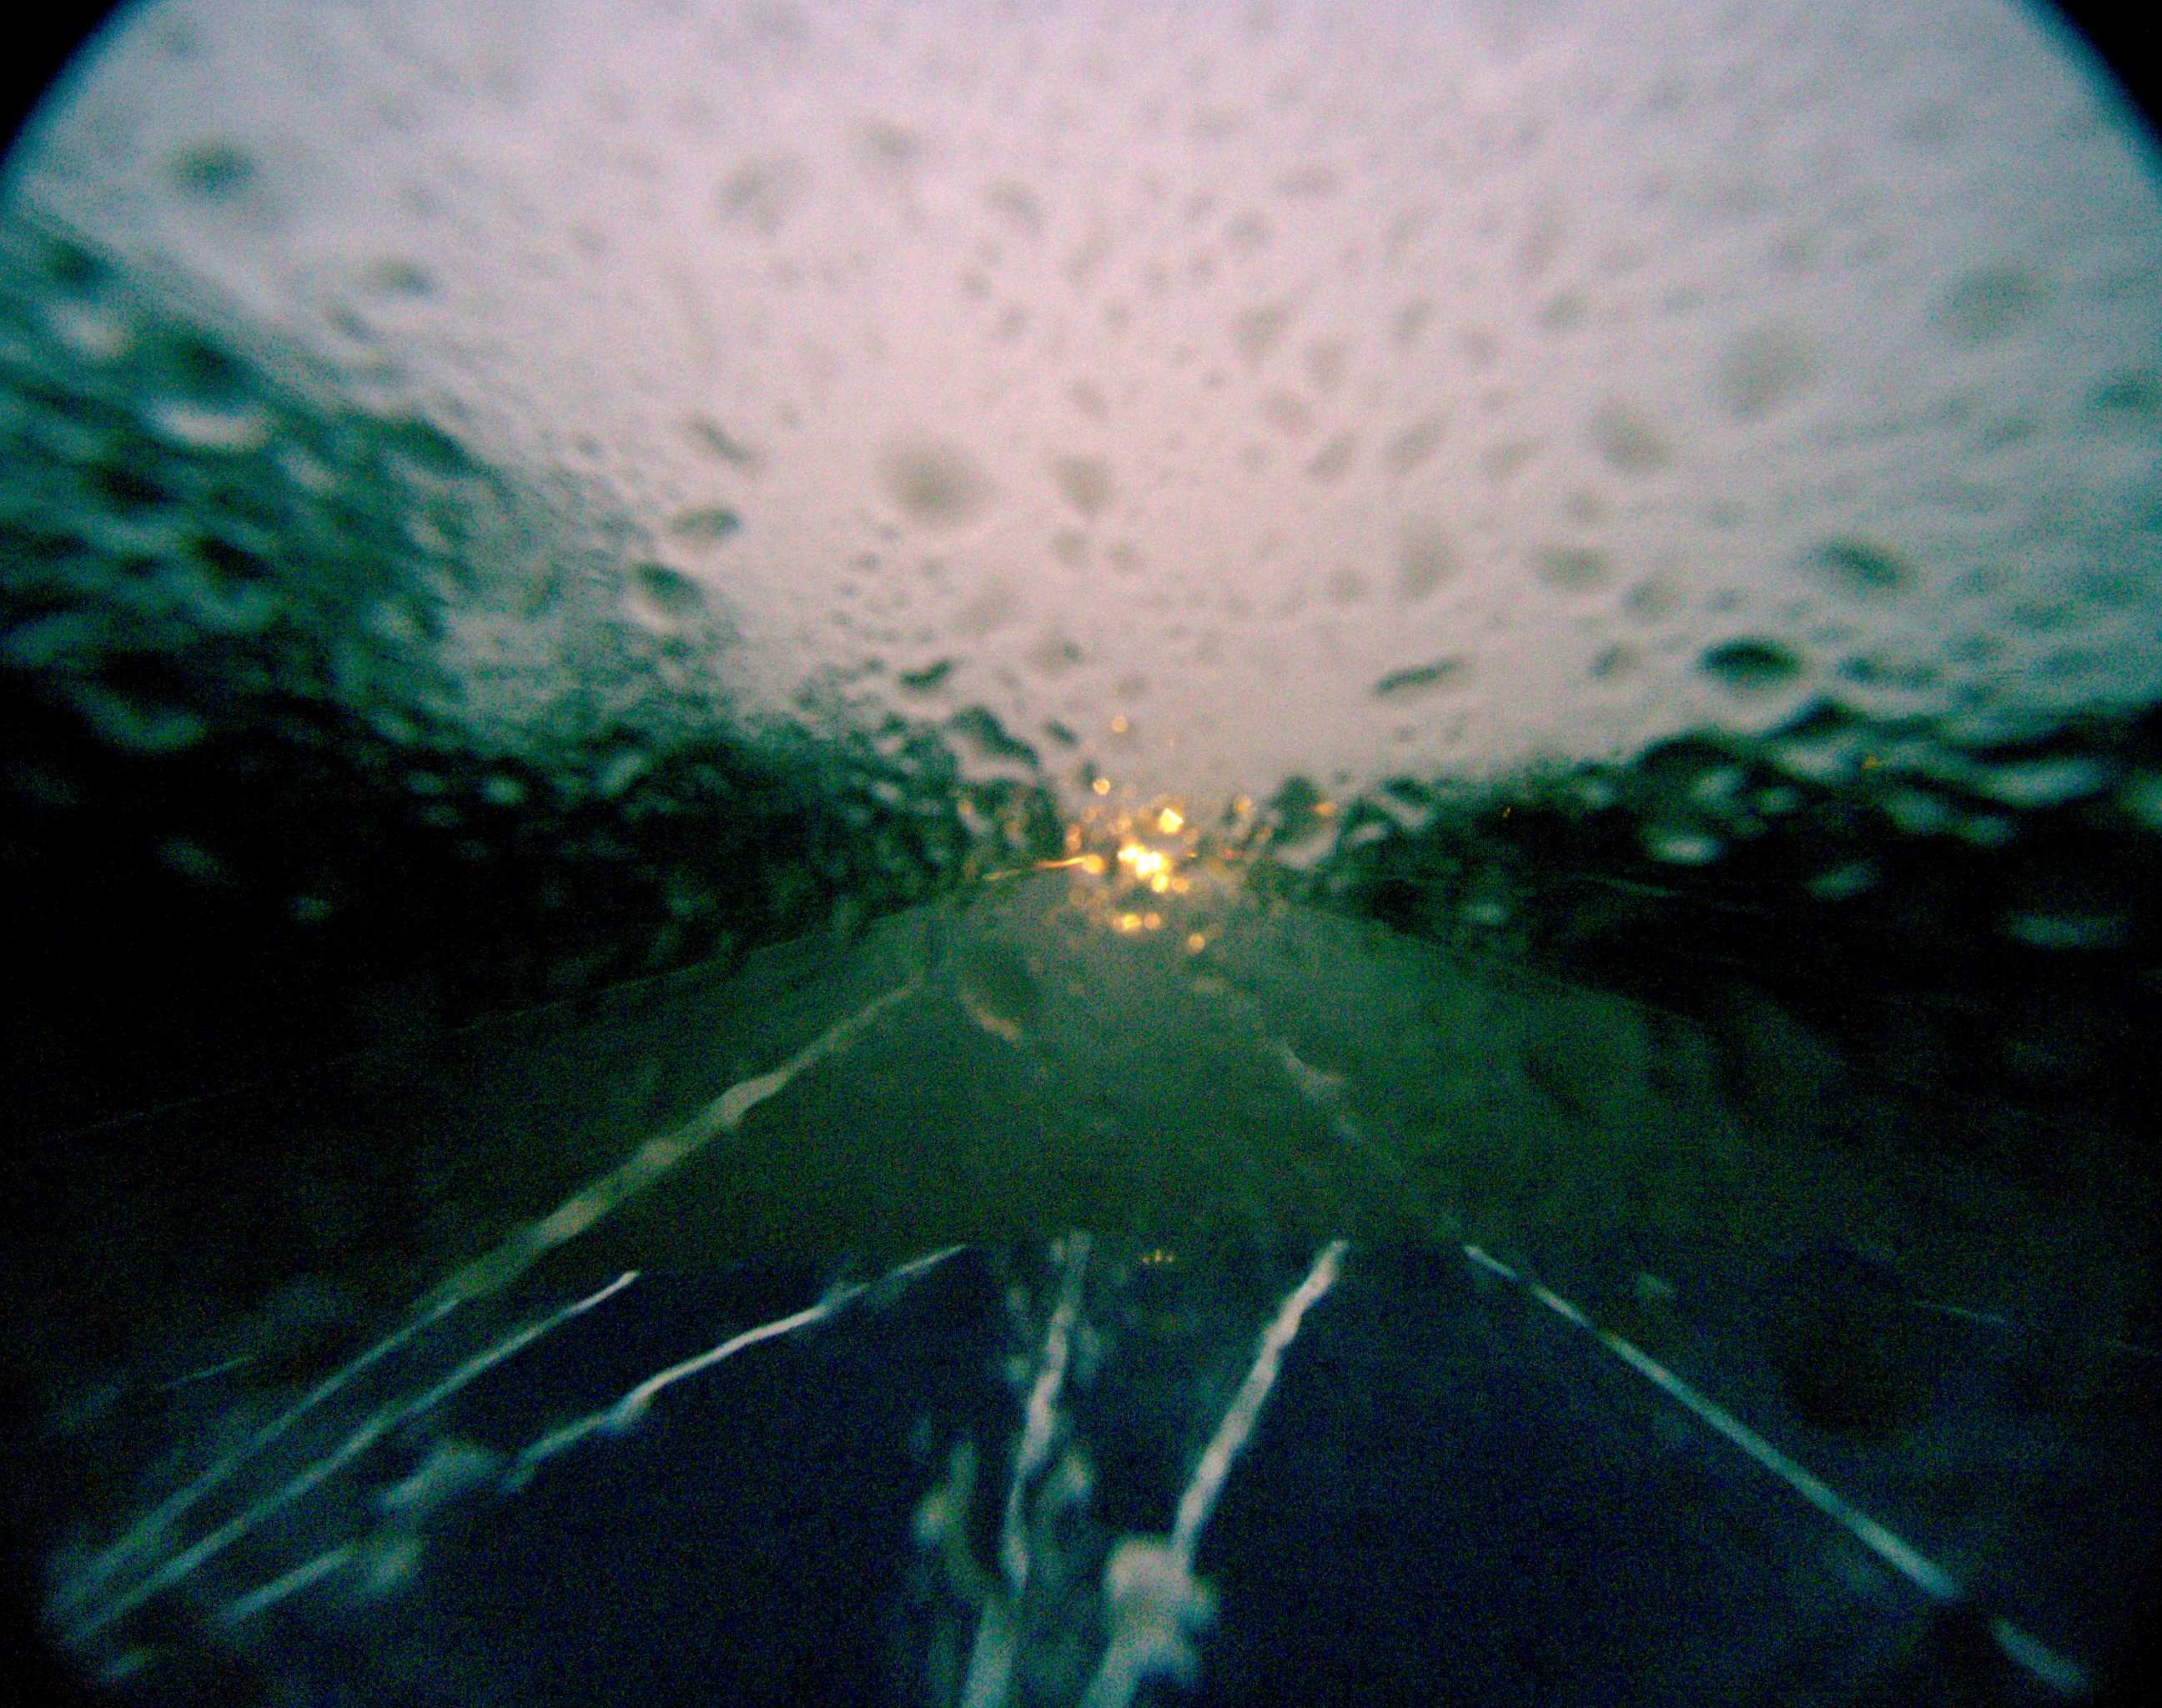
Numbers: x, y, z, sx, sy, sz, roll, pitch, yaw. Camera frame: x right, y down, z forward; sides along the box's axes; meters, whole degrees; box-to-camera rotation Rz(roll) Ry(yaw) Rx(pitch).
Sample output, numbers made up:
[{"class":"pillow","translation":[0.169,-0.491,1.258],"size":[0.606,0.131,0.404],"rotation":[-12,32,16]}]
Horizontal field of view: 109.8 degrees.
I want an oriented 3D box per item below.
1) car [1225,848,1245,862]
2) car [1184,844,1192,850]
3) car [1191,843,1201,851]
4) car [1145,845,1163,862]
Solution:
[{"class":"car","translation":[18.773,0.061,92.722],"size":[1.767,1.617,4.528],"rotation":[-1,0,4]},{"class":"car","translation":[26.230,-1.776,186.416],"size":[1.707,1.467,4.366],"rotation":[-2,1,5]},{"class":"car","translation":[24.102,-1.462,159.022],"size":[1.707,1.467,4.366],"rotation":[-2,1,5]},{"class":"car","translation":[9.333,-0.036,97.099],"size":[1.998,2.002,4.000],"rotation":[-5,0,2]}]
